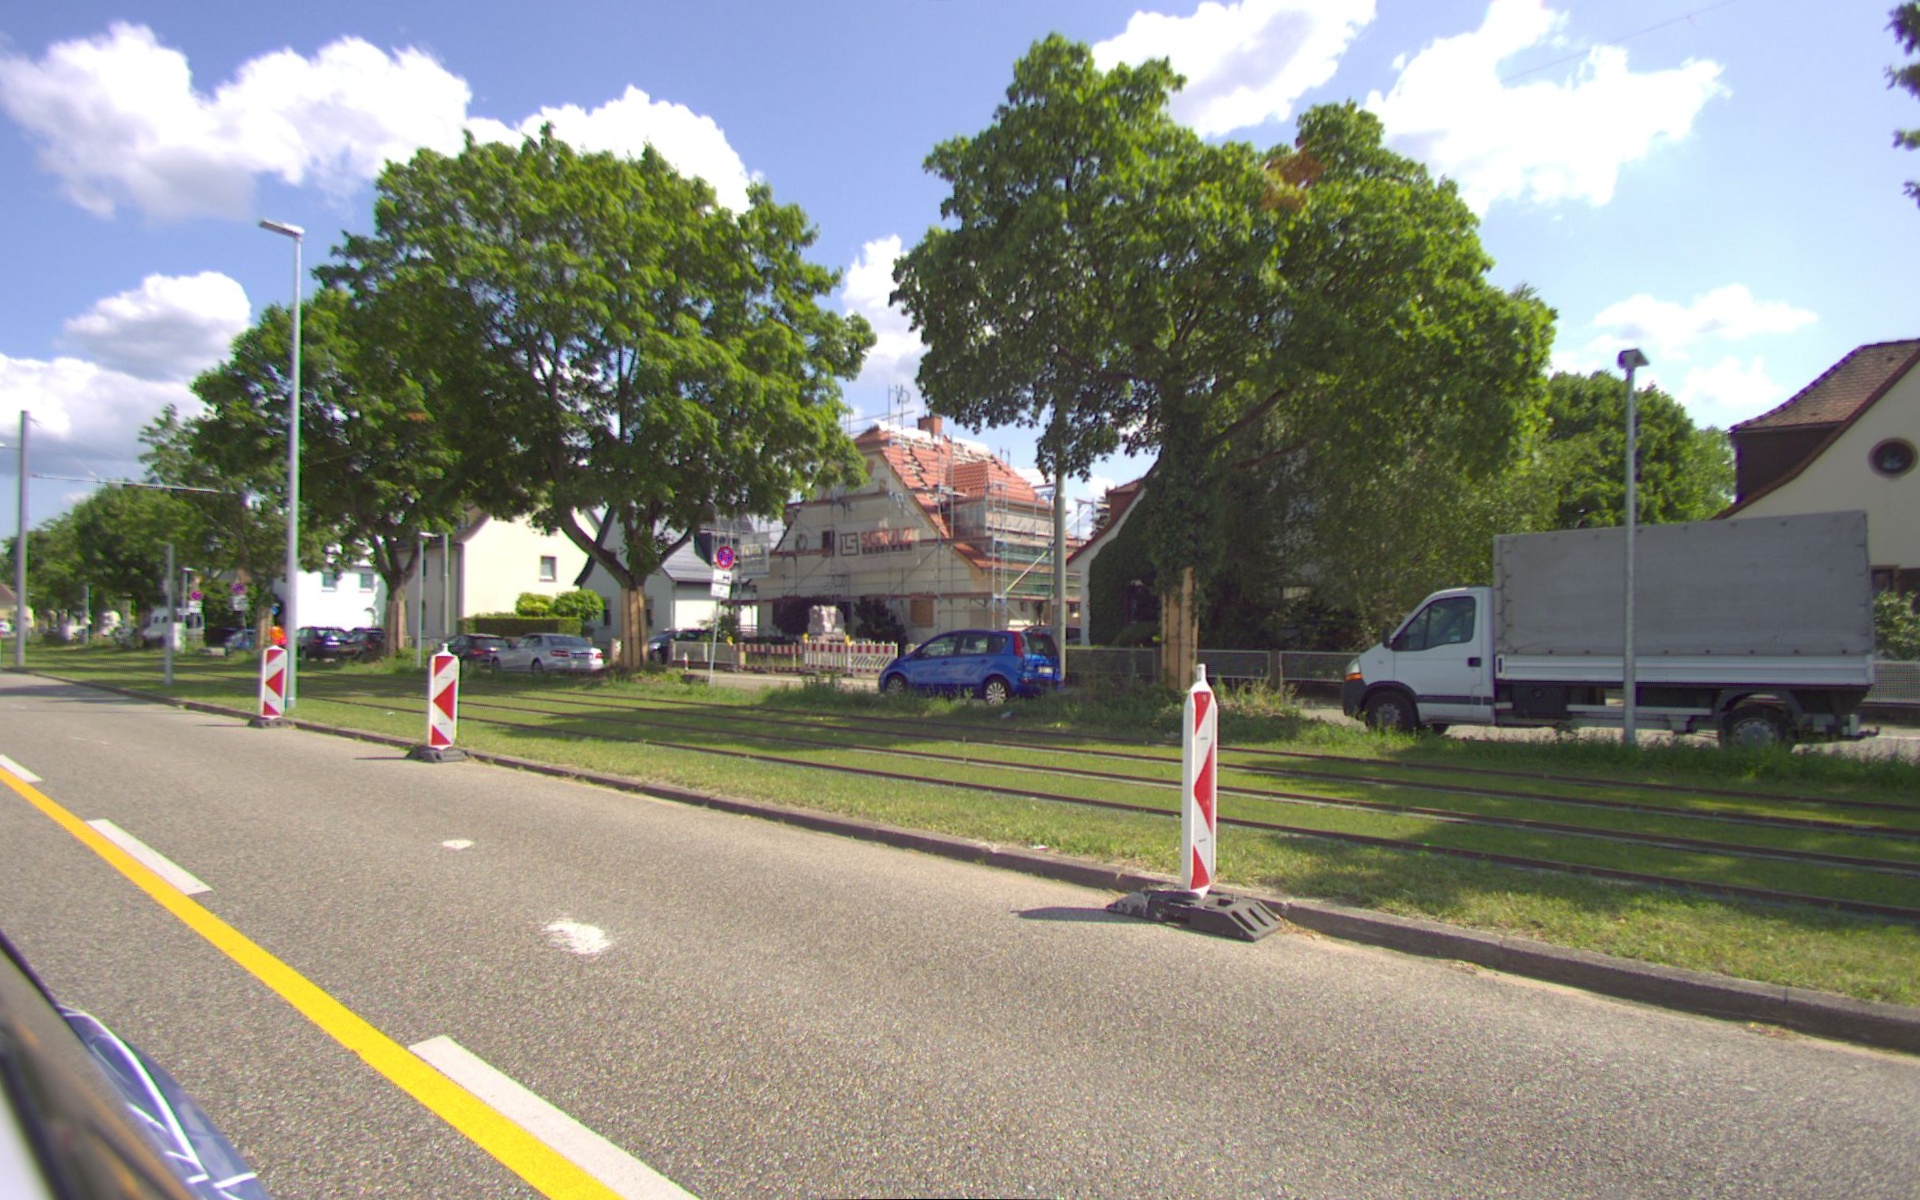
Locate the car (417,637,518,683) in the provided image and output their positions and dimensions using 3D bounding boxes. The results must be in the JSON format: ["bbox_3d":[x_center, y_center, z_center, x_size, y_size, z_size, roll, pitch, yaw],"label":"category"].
[{"bbox_3d":[-17.517,2.117,35.889,4.403,1.497,1.680,-3,-3,41],"label":"car"}]

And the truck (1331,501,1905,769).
[{"bbox_3d":[8.303,0.453,13.399,5.971,2.802,2.242,-2,-3,41],"label":"truck"}]

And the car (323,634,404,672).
[{"bbox_3d":[-25.176,2.251,42.647,4.403,1.497,1.680,-3,-3,41],"label":"car"}]

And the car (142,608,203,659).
[{"bbox_3d":[-49.513,2.159,63.602,5.080,3.061,2.108,-3,-3,41],"label":"car"}]

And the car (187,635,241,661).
[{"bbox_3d":[-44.473,2.872,60.326,4.403,1.497,1.680,-3,-3,41],"label":"car"}]

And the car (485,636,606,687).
[{"bbox_3d":[-13.110,1.927,31.864,4.520,1.497,1.765,-4,-3,42],"label":"car"}]

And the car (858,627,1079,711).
[{"bbox_3d":[0.082,1.350,20.291,4.403,1.497,1.680,-3,-3,41],"label":"car"}]

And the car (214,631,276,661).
[{"bbox_3d":[-37.490,2.425,53.045,4.403,1.497,1.680,-3,-3,41],"label":"car"}]

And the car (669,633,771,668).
[{"bbox_3d":[-10.922,2.290,46.207,1.702,1.497,4.345,-3,-3,41],"label":"car"}]

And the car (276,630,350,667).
[{"bbox_3d":[-29.491,2.222,46.070,4.403,1.584,1.680,-3,-3,41],"label":"car"}]
